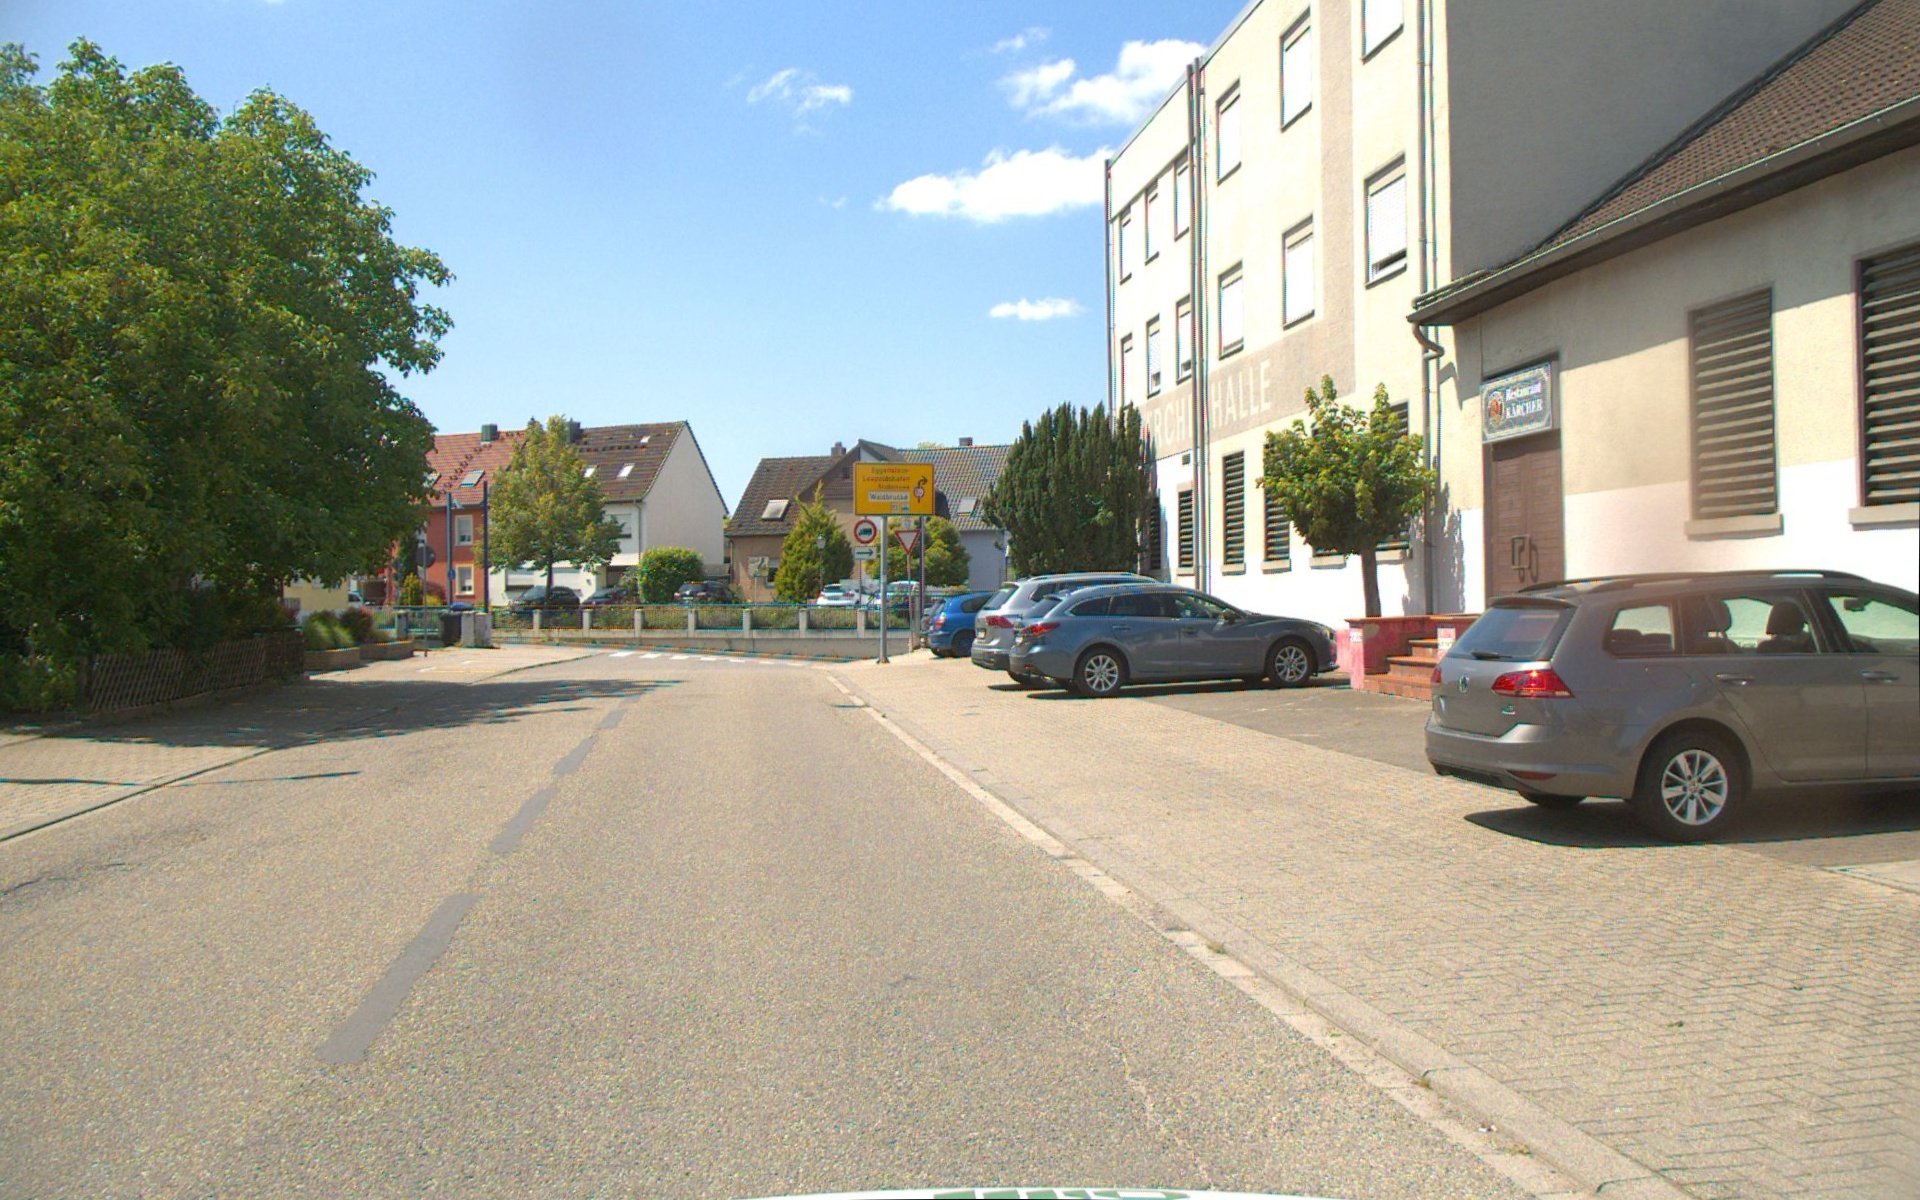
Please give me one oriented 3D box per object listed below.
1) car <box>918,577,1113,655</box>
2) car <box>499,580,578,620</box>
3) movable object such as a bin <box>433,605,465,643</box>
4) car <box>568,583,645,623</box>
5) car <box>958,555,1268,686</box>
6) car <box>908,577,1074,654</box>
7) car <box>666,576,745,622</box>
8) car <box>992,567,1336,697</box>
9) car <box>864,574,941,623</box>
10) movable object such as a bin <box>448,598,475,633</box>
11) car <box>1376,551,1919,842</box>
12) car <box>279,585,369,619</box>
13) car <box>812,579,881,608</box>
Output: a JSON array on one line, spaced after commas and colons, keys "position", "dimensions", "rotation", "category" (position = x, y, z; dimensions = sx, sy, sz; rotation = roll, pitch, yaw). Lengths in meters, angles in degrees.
[{"position": [1.272, 0.386, 38.981], "dimensions": [4.245, 1.464, 1.775], "rotation": [-4, -2, -10], "category": "car"}, {"position": [-19.601, 0.005, 76.995], "dimensions": [1.828, 1.614, 3.611], "rotation": [3, -1, 18], "category": "car"}, {"position": [-17.065, 0.802, 55.247], "dimensions": [0.868, 1.247, 0.901], "rotation": [0, -1, -7], "category": "movable object such as a bin"}, {"position": [-16.135, 0.138, 75.617], "dimensions": [1.828, 1.614, 3.611], "rotation": [3, -1, 18], "category": "car"}, {"position": [2.316, 0.288, 25.604], "dimensions": [4.374, 1.726, 1.918], "rotation": [-3, 0, -11], "category": "car"}, {"position": [0.768, 0.399, 42.202], "dimensions": [3.827, 1.515, 1.805], "rotation": [-6, 0, -11], "category": "car"}, {"position": [-11.396, -0.017, 74.356], "dimensions": [1.828, 1.828, 4.001], "rotation": [3, -1, 18], "category": "car"}, {"position": [2.822, 0.416, 23.387], "dimensions": [4.418, 1.546, 1.996], "rotation": [-3, 0, -10], "category": "car"}, {"position": [-2.428, -0.050, 71.006], "dimensions": [1.952, 1.828, 4.198], "rotation": [3, -1, 18], "category": "car"}, {"position": [-17.648, 0.552, 58.558], "dimensions": [0.828, 1.235, 1.268], "rotation": [0, -1, -21], "category": "movable object such as a bin"}, {"position": [5.119, 0.483, 10.378], "dimensions": [4.443, 1.479, 1.914], "rotation": [-3, 0, -9], "category": "car"}, {"position": [-32.364, 0.117, 84.224], "dimensions": [1.707, 1.514, 4.253], "rotation": [3, -1, 24], "category": "car"}, {"position": [-4.895, -0.274, 71.792], "dimensions": [1.787, 1.037, 3.460], "rotation": [3, -1, 18], "category": "car"}]
